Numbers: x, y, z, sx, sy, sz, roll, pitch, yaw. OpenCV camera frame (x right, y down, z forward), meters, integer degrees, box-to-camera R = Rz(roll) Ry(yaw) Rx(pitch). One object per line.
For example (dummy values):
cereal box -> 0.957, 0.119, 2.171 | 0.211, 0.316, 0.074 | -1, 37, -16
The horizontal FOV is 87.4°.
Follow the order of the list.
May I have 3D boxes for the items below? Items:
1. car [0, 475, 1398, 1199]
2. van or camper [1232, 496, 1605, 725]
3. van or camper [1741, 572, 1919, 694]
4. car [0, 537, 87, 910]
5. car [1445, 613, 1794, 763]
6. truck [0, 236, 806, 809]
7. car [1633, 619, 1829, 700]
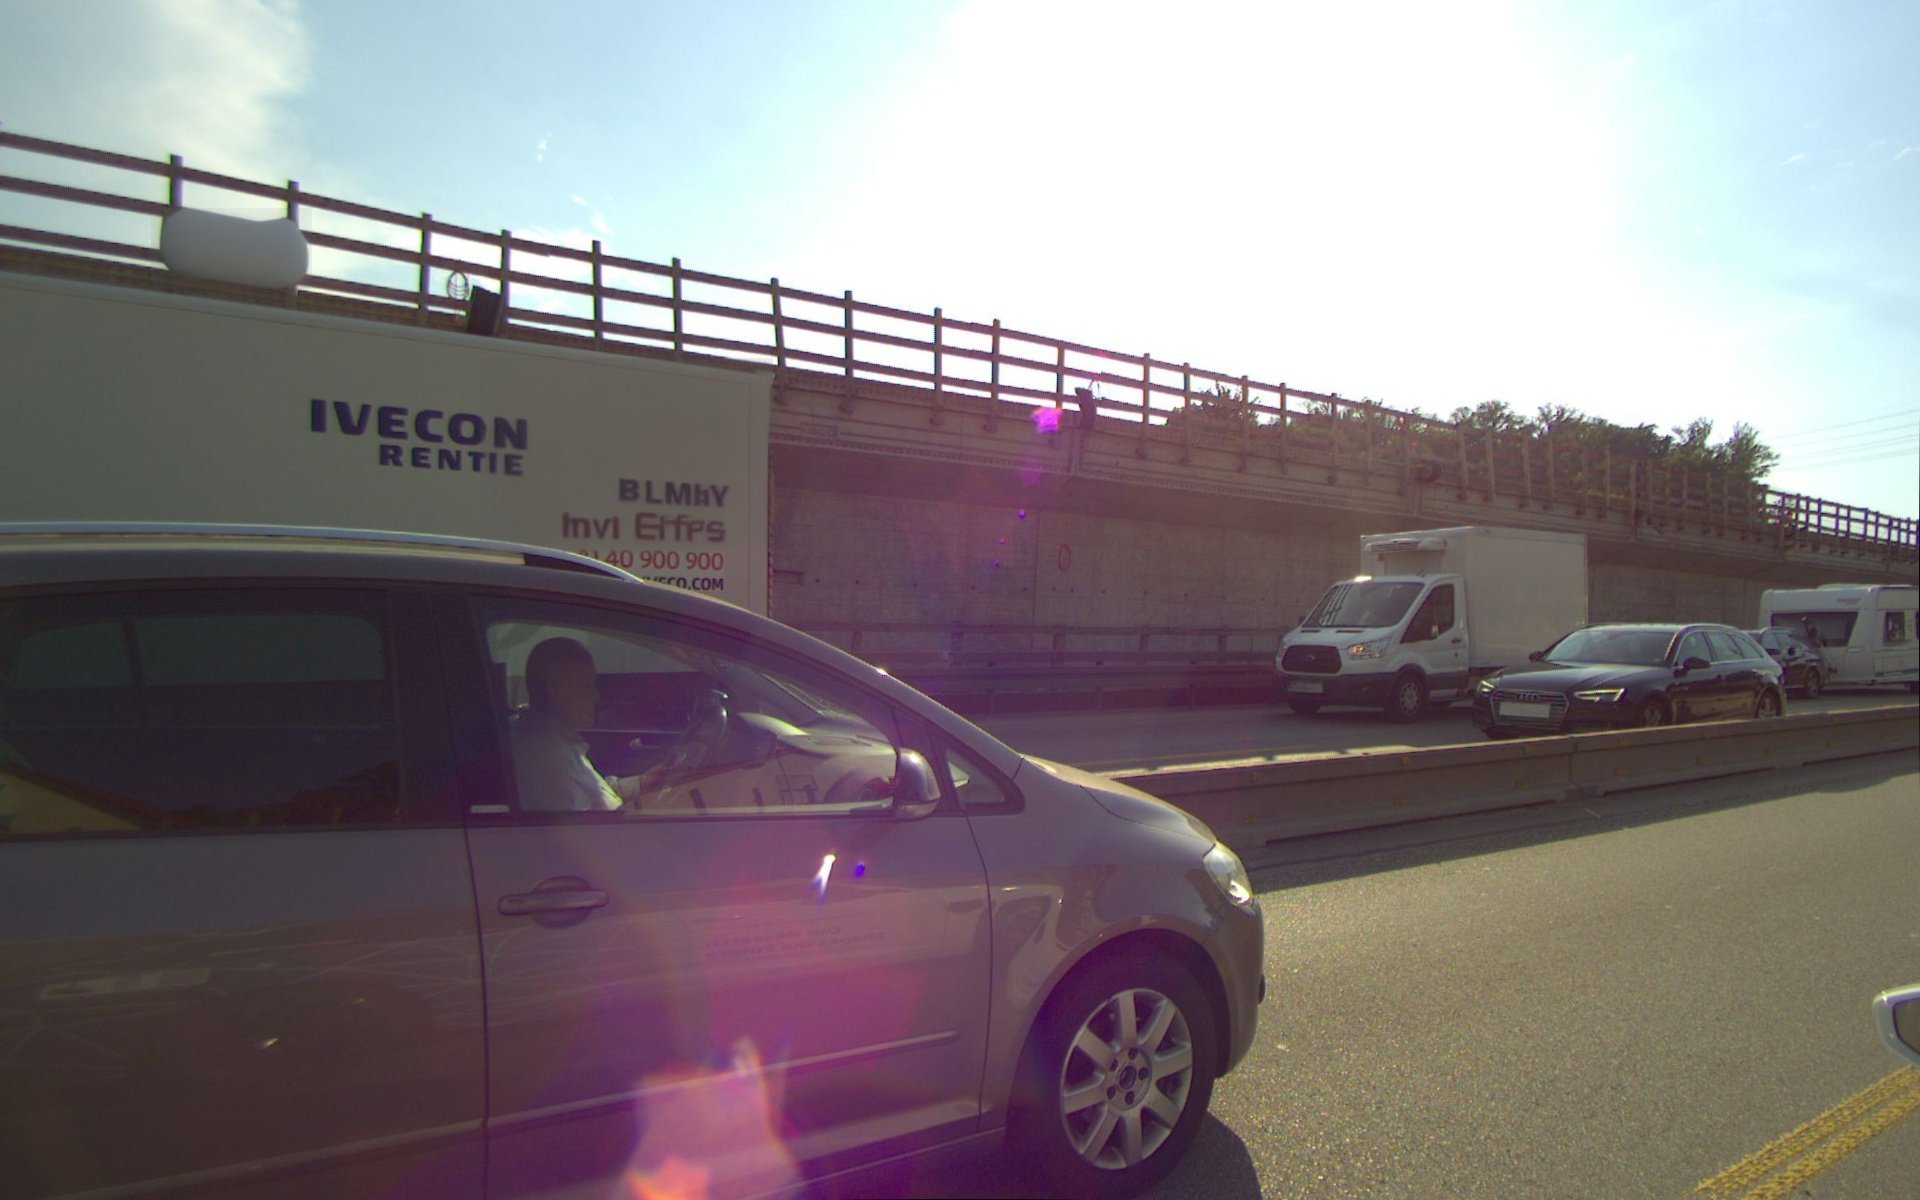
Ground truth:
car -> -0.956, 0.657, 2.602 | 4.221, 1.609, 1.673 | 1, -2, -30
van or camper -> 7.349, 0.264, 15.841 | 6.154, 3.028, 2.308 | 2, -2, -31
van or camper -> 22.115, 0.817, 24.789 | 6.379, 2.698, 2.301 | 1, -2, -30
car -> -6.420, 0.459, 3.603 | 4.635, 1.667, 1.823 | 2, 0, -30
car -> 7.991, 0.938, 12.072 | 4.407, 1.470, 1.755 | 1, 1, -31
truck -> -5.492, -0.387, 7.852 | 8.048, 3.469, 2.702 | 2, -3, -31
car -> 16.238, 1.205, 21.092 | 4.728, 1.551, 1.633 | 2, -2, -31
